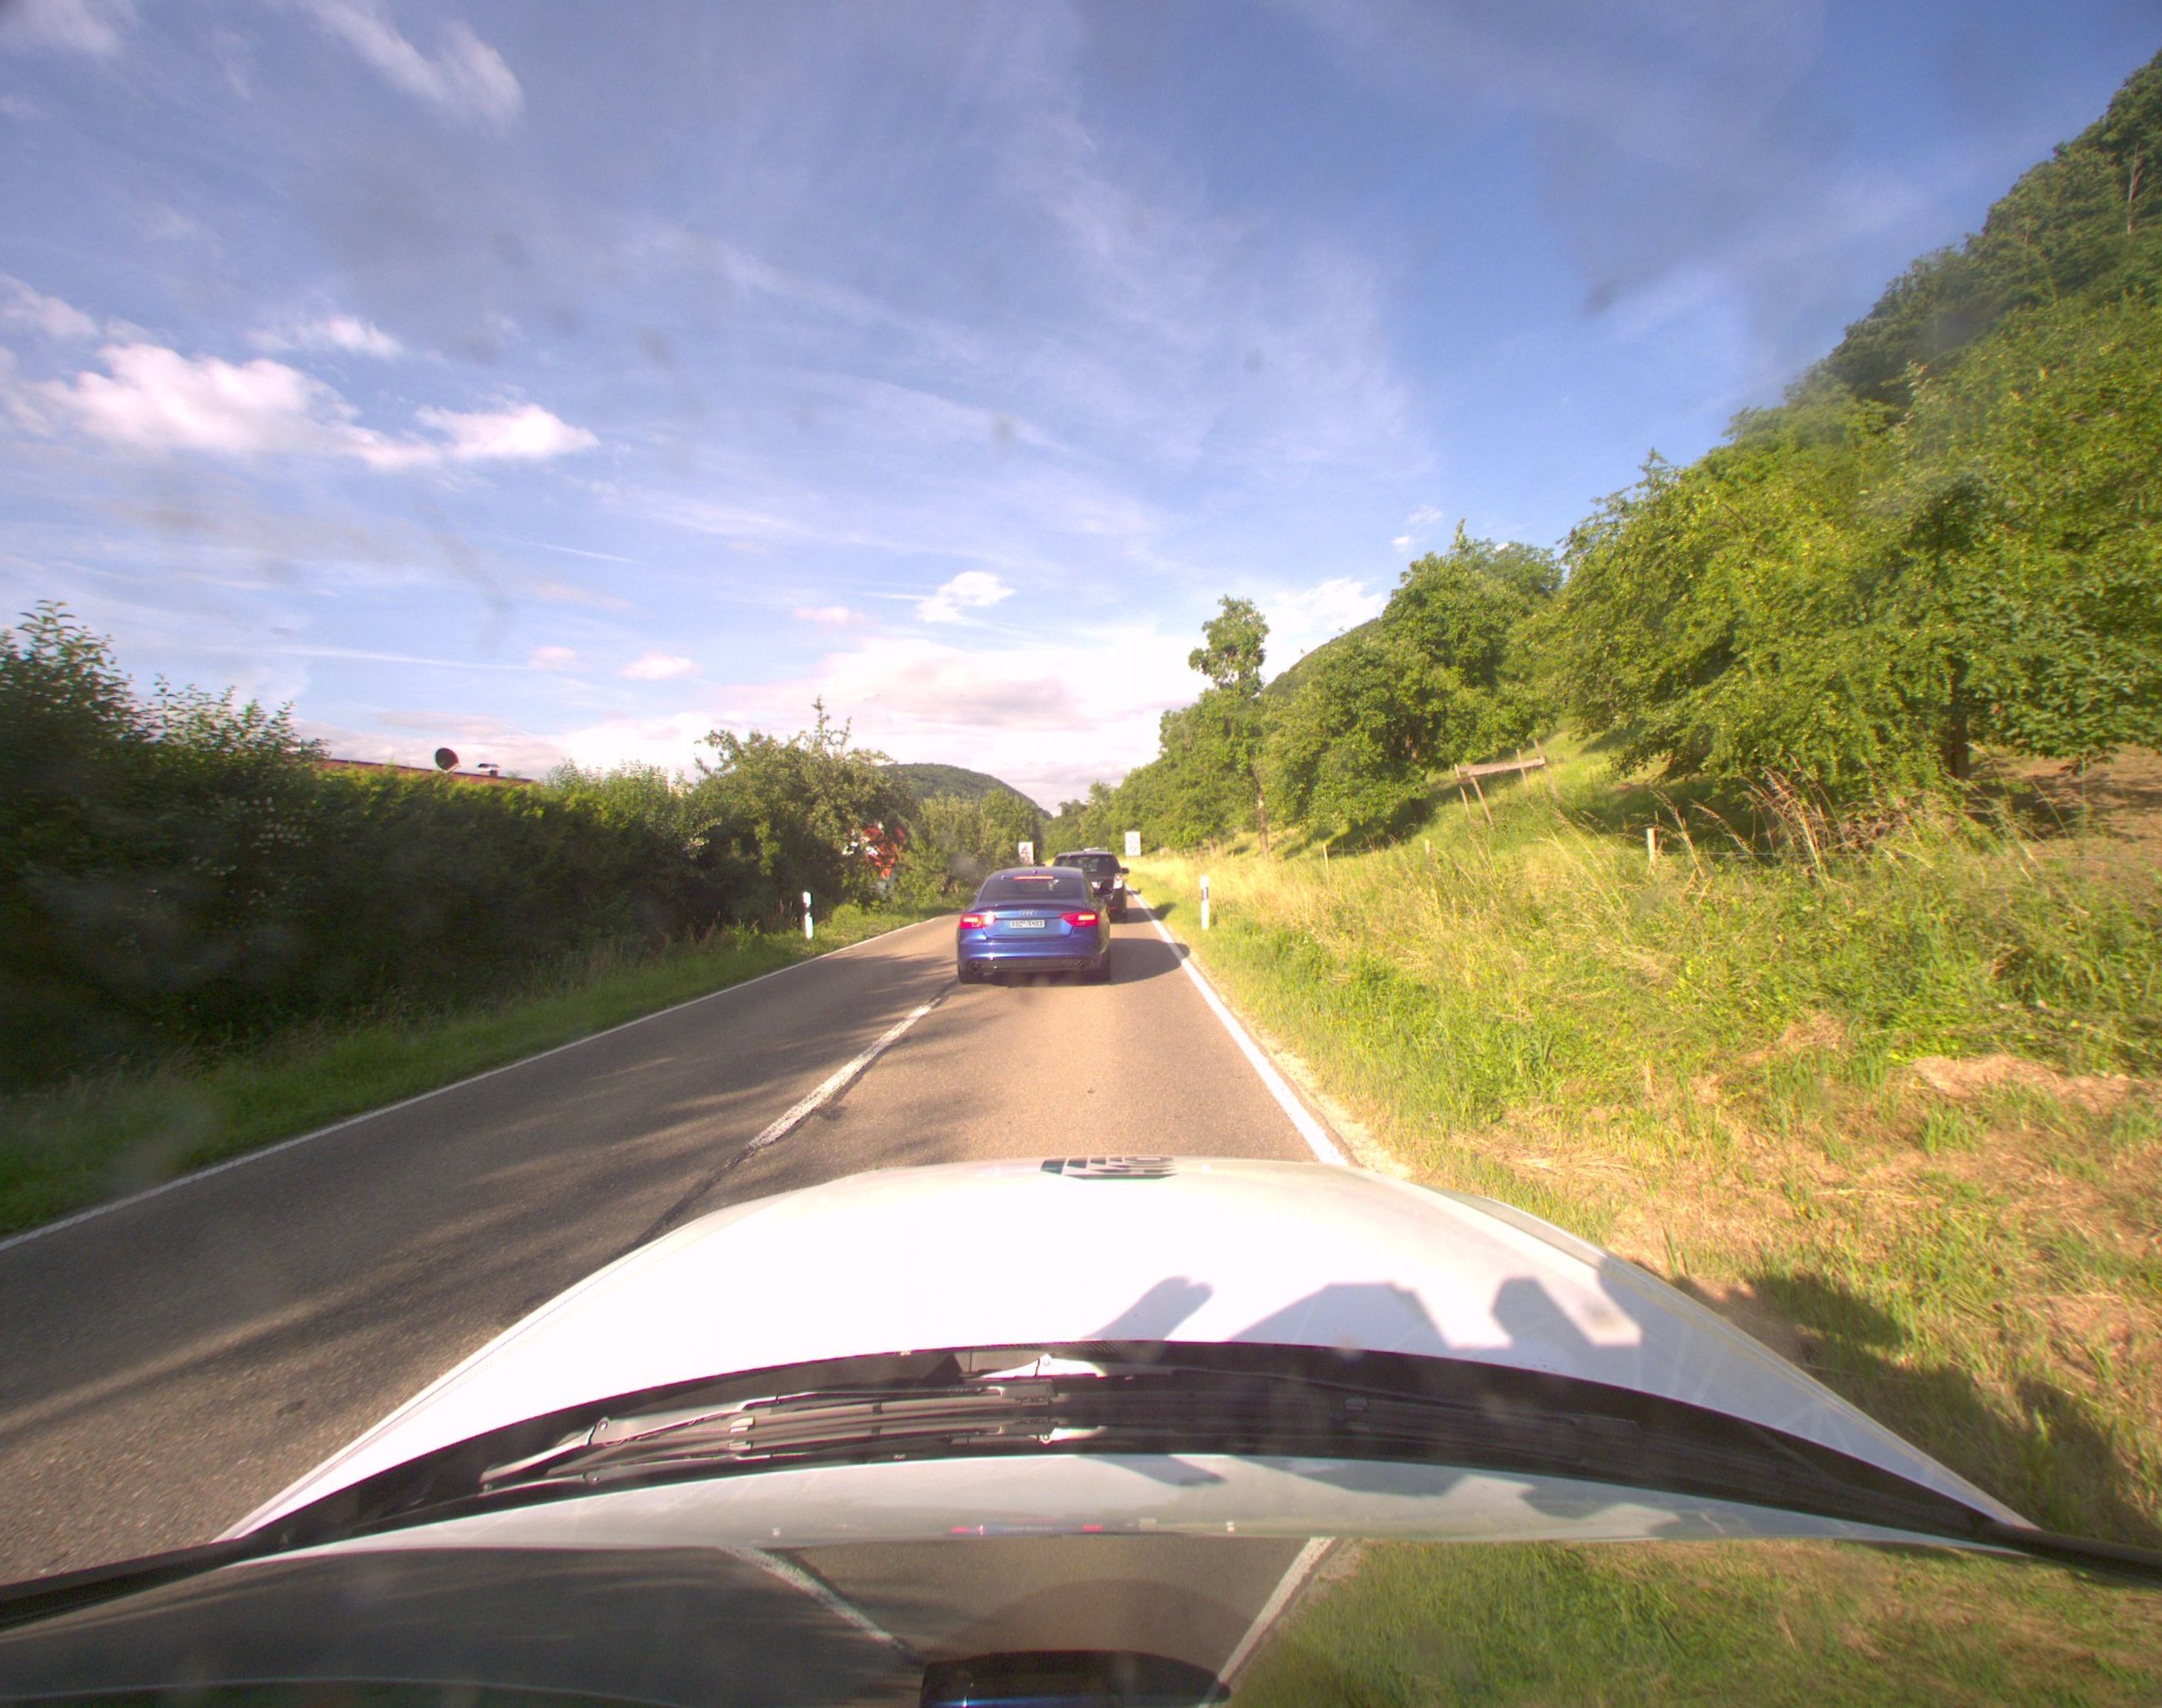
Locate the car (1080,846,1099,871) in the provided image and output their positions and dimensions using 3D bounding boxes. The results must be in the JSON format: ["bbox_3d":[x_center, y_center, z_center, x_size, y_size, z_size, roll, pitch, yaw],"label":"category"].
[{"bbox_3d":[0.866,0.451,82.209,1.787,2.453,3.917,0,0,-2],"label":"car"}]

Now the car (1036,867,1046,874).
[{"bbox_3d":[-8.508,3.448,172.624,1.559,1.496,3.764,0,0,-11],"label":"car"}]

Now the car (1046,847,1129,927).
[{"bbox_3d":[0.171,0.691,18.836,1.687,1.624,3.790,-1,0,1],"label":"car"}]

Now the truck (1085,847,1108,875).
[{"bbox_3d":[1.379,0.618,72.151,1.943,2.345,5.094,0,0,1],"label":"truck"}]

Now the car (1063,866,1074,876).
[{"bbox_3d":[-2.123,2.861,136.970,1.557,1.496,3.769,0,0,-7],"label":"car"}]

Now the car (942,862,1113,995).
[{"bbox_3d":[-0.509,0.821,10.837,1.799,1.382,4.216,-2,-1,2],"label":"car"}]

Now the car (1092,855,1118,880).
[{"bbox_3d":[1.670,0.900,56.541,1.687,1.624,3.790,-1,0,1],"label":"car"}]
